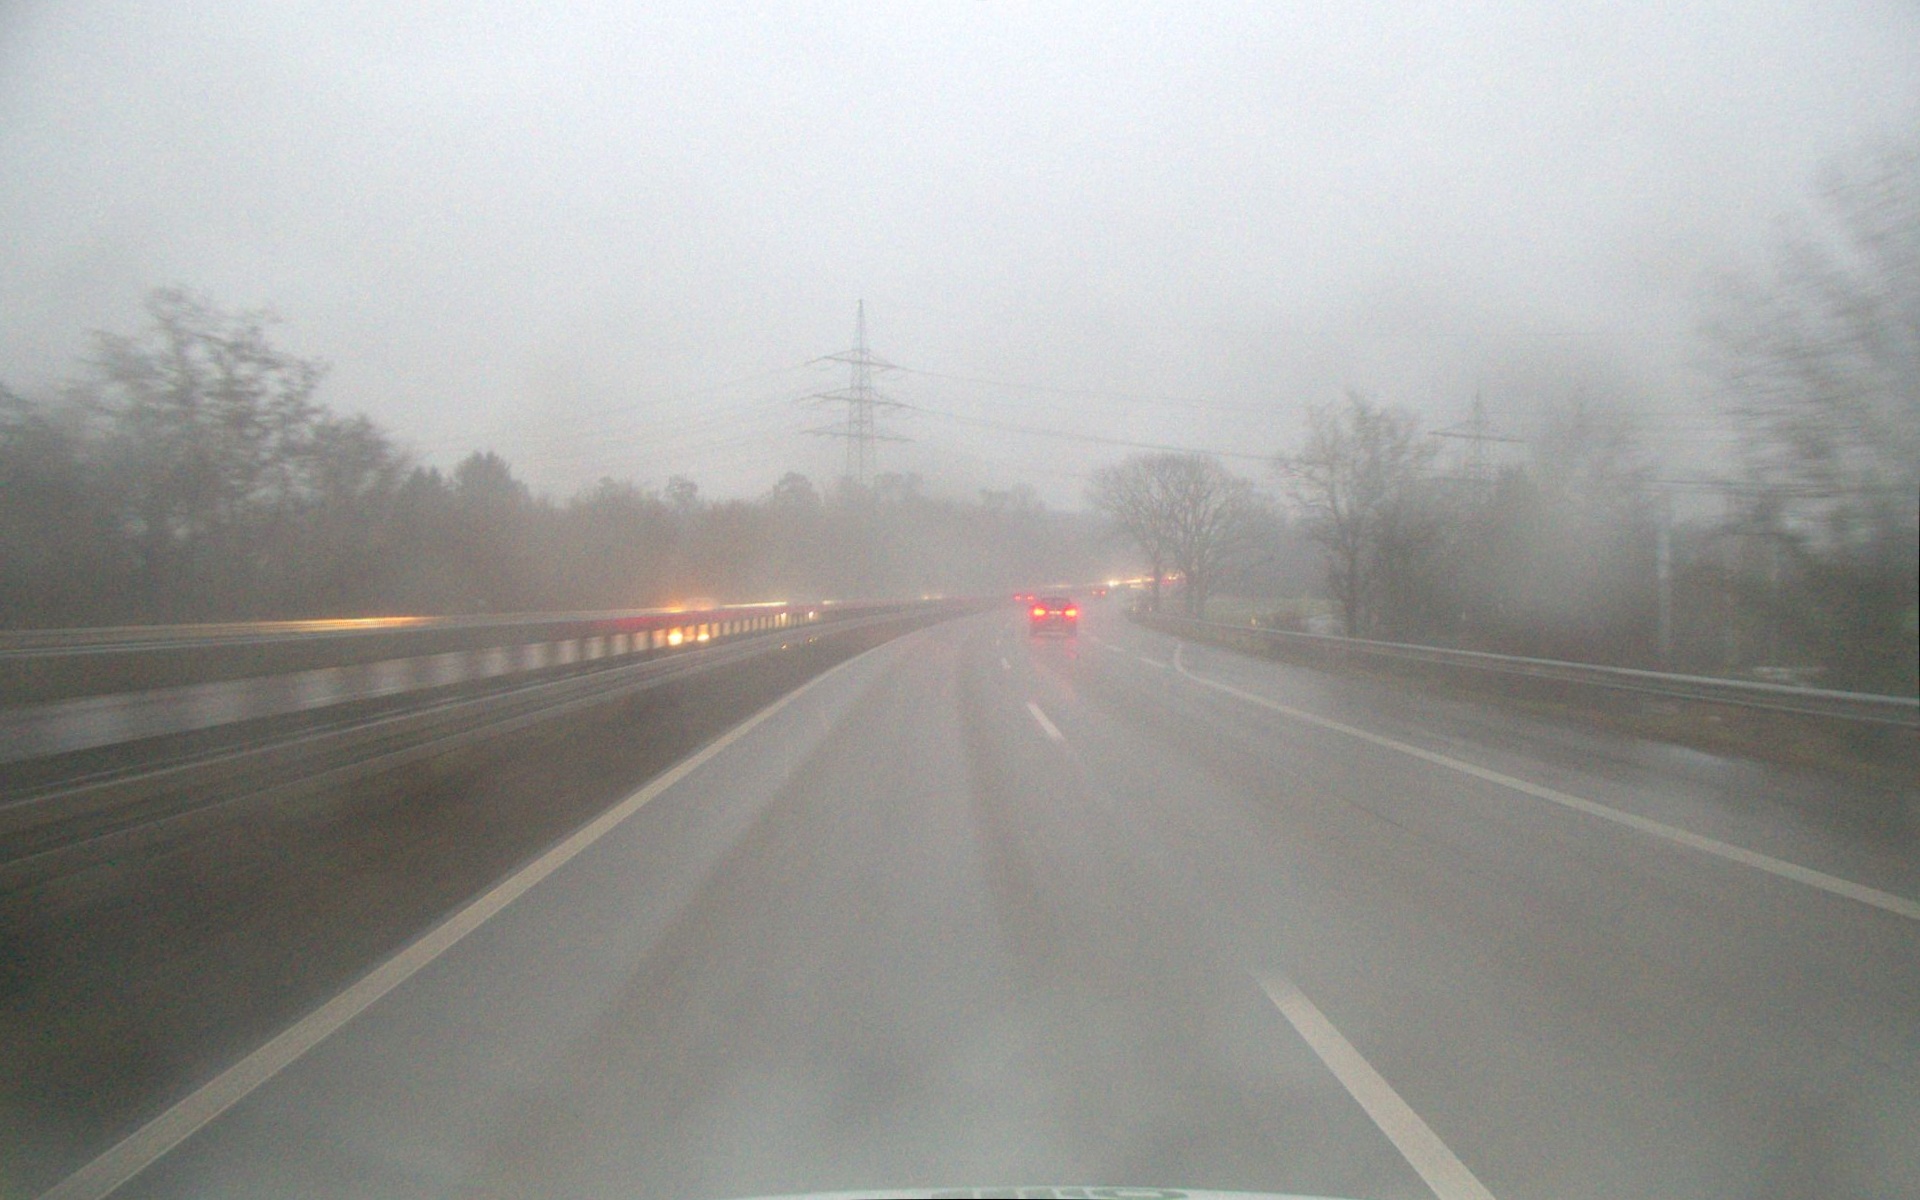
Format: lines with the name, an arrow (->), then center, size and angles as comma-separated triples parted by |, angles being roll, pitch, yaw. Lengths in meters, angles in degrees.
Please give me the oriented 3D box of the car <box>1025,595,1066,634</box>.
car -> 3.589, 0.584, 69.071 | 1.643, 1.535, 3.811 | 0, 1, 3
